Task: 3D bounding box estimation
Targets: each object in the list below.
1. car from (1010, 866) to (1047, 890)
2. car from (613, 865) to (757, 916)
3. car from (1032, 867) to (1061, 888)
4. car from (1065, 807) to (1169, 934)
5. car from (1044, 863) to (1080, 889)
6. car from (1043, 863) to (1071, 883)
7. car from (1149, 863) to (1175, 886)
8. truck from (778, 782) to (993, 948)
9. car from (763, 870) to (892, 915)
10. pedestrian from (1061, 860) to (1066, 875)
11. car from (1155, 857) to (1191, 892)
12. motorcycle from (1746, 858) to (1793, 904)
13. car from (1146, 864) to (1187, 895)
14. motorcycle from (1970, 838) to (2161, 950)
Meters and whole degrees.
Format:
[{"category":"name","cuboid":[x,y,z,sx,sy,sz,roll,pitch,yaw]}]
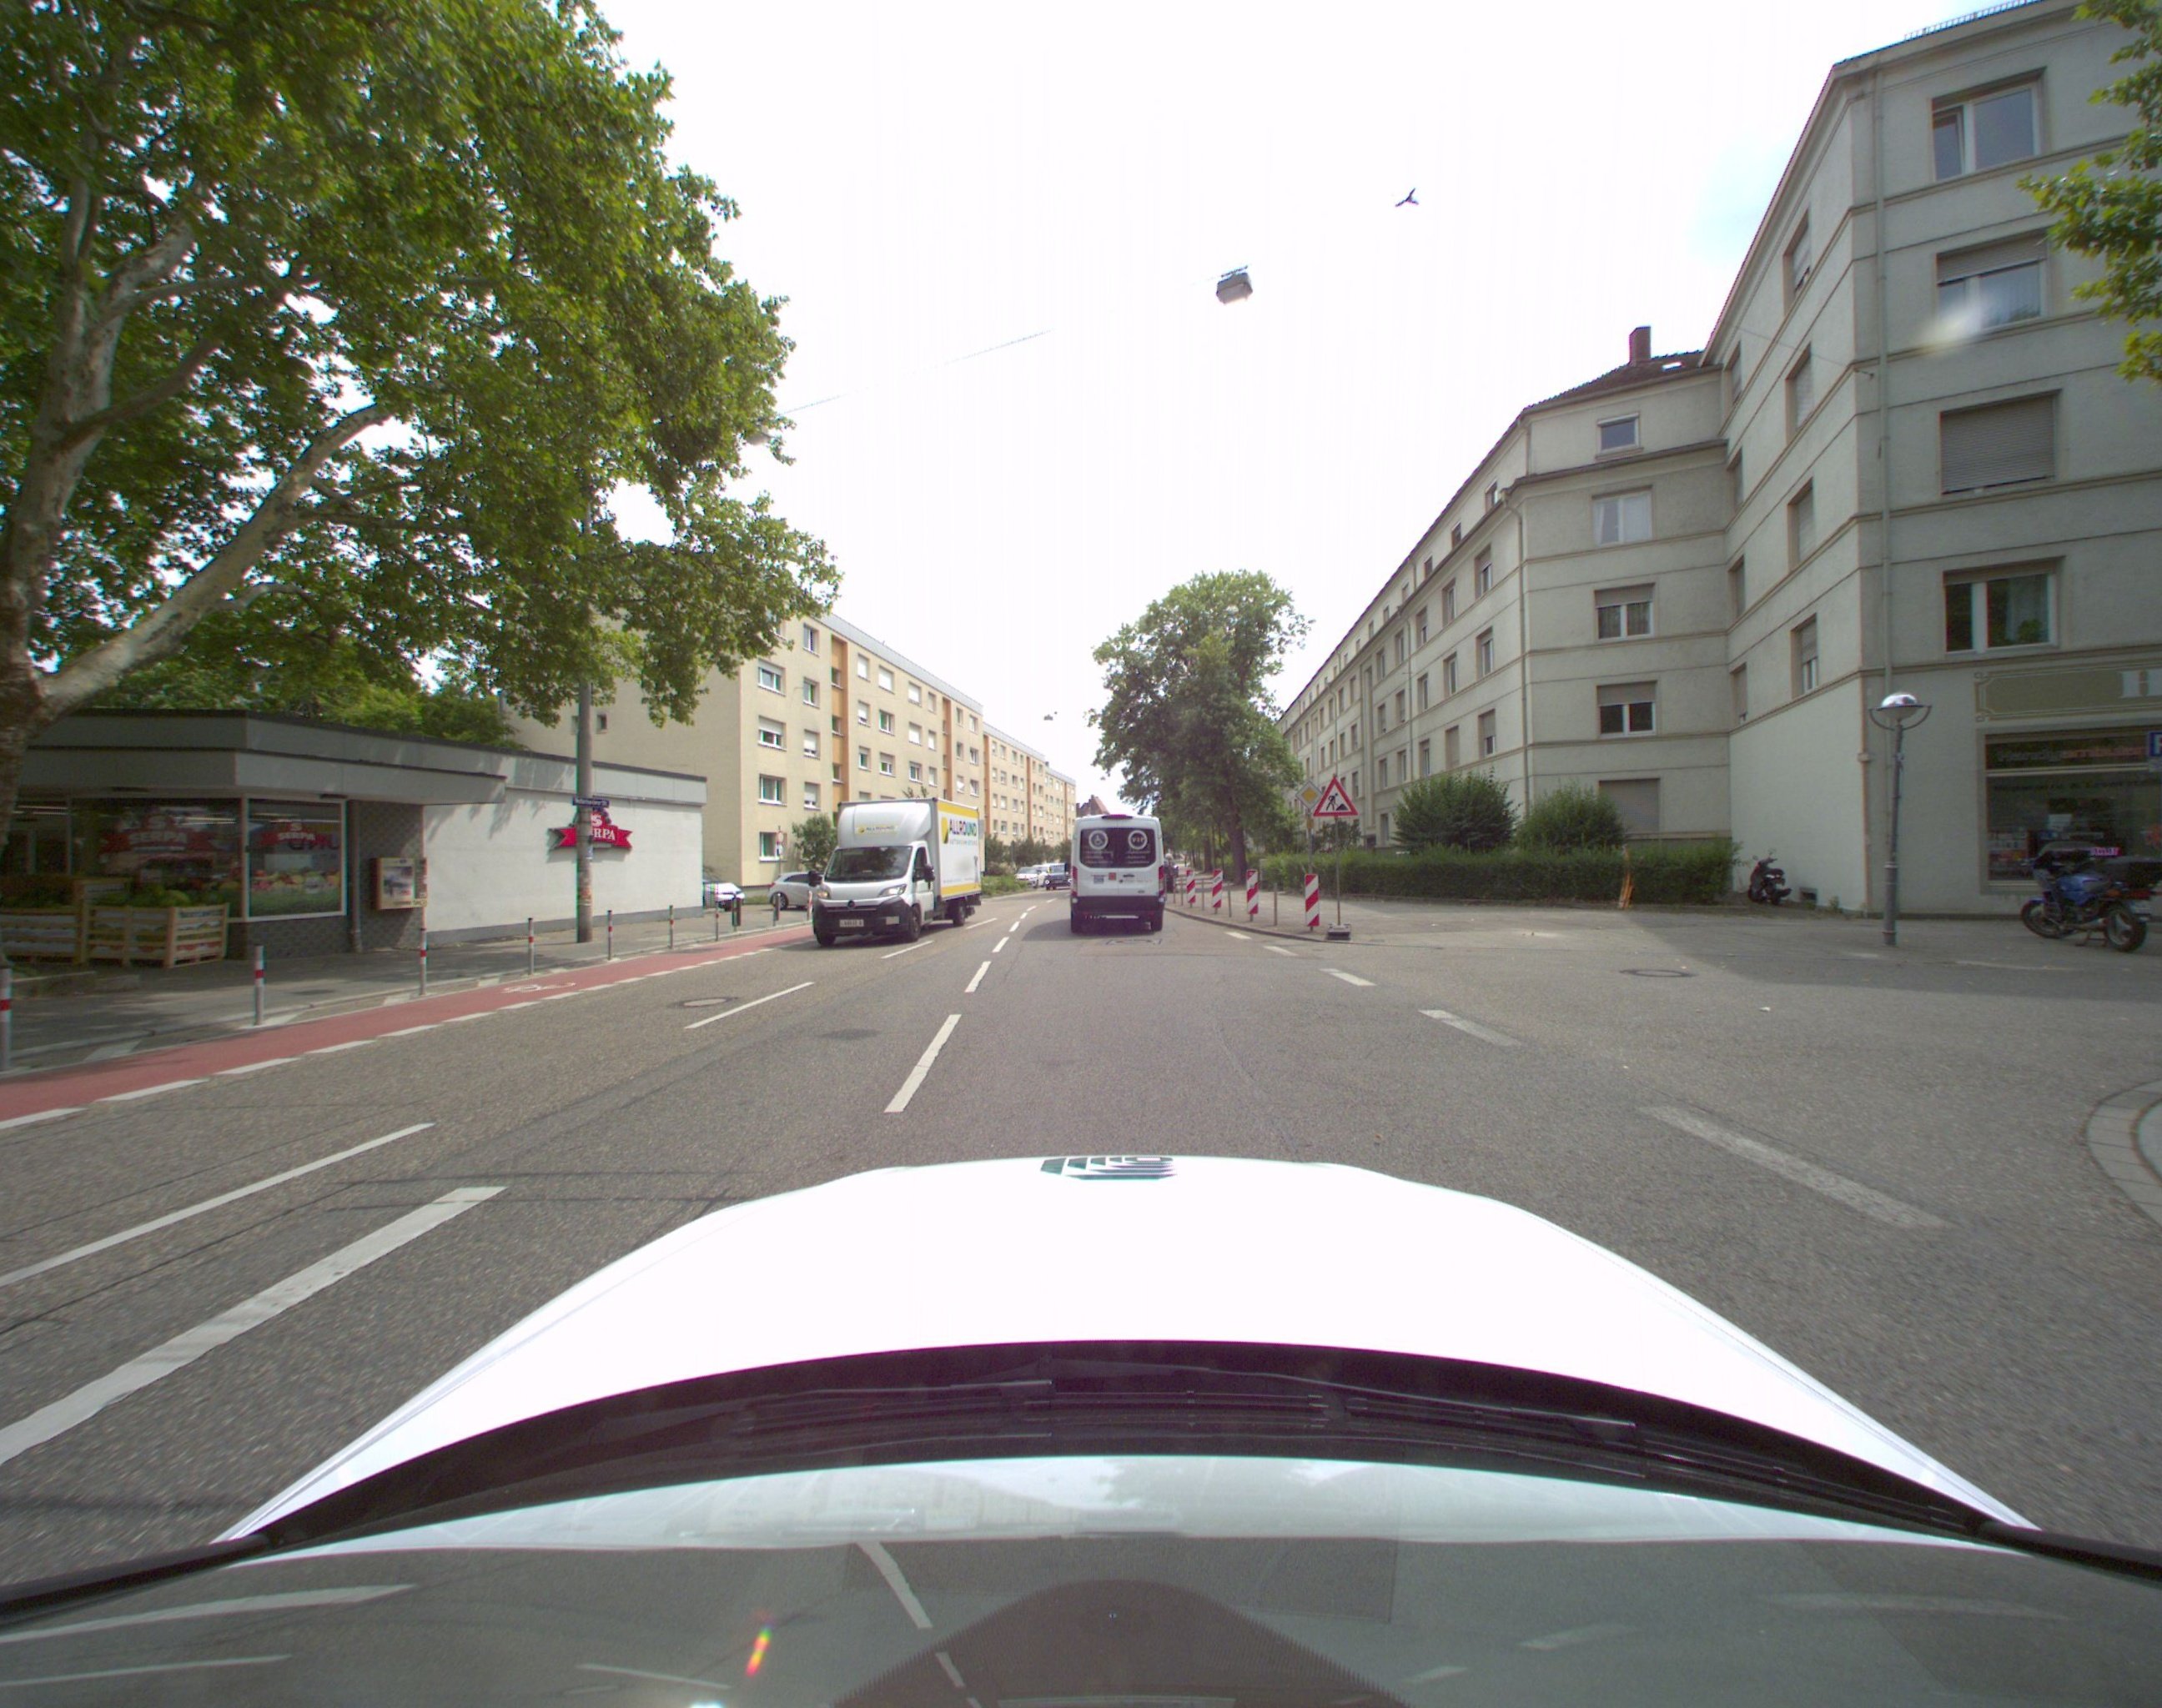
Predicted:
[{"category":"car","cuboid":[-3.476,1.589,54.932,1.699,1.473,3.998,0,0,8]},{"category":"car","cuboid":[-14.745,1.357,30.415,4.600,1.686,1.855,-2,-1,12]},{"category":"car","cuboid":[-2.520,1.685,60.312,1.700,1.473,3.994,0,0,5]},{"category":"car","cuboid":[0.924,0.388,19.012,2.061,2.540,4.640,-2,-1,5]},{"category":"car","cuboid":[-1.153,1.348,50.848,1.689,1.518,4.006,-2,0,5]},{"category":"car","cuboid":[-1.940,1.562,67.391,1.688,1.613,4.484,0,0,6]},{"category":"car","cuboid":[5.500,1.359,55.595,1.689,1.450,4.106,0,-1,5]},{"category":"truck","cuboid":[-4.217,0.247,19.379,2.528,3.107,7.033,-3,-1,7]},{"category":"car","cuboid":[-9.492,1.424,30.647,4.147,1.450,1.853,2,0,8]},{"category":"pedestrian","cuboid":[-2.116,1.658,98.361,0.617,1.813,0.900,0,-1,4]},{"category":"car","cuboid":[5.308,1.103,46.350,1.907,1.865,4.856,0,0,8]},{"category":"motorcycle","cuboid":[16.313,0.633,19.322,0.428,1.016,1.457,-1,1,23]},{"category":"car","cuboid":[4.318,1.238,40.617,1.907,1.444,4.248,-1,-1,8]},{"category":"motorcycle","cuboid":[14.338,0.513,11.784,0.826,1.462,2.314,-1,1,14]}]
